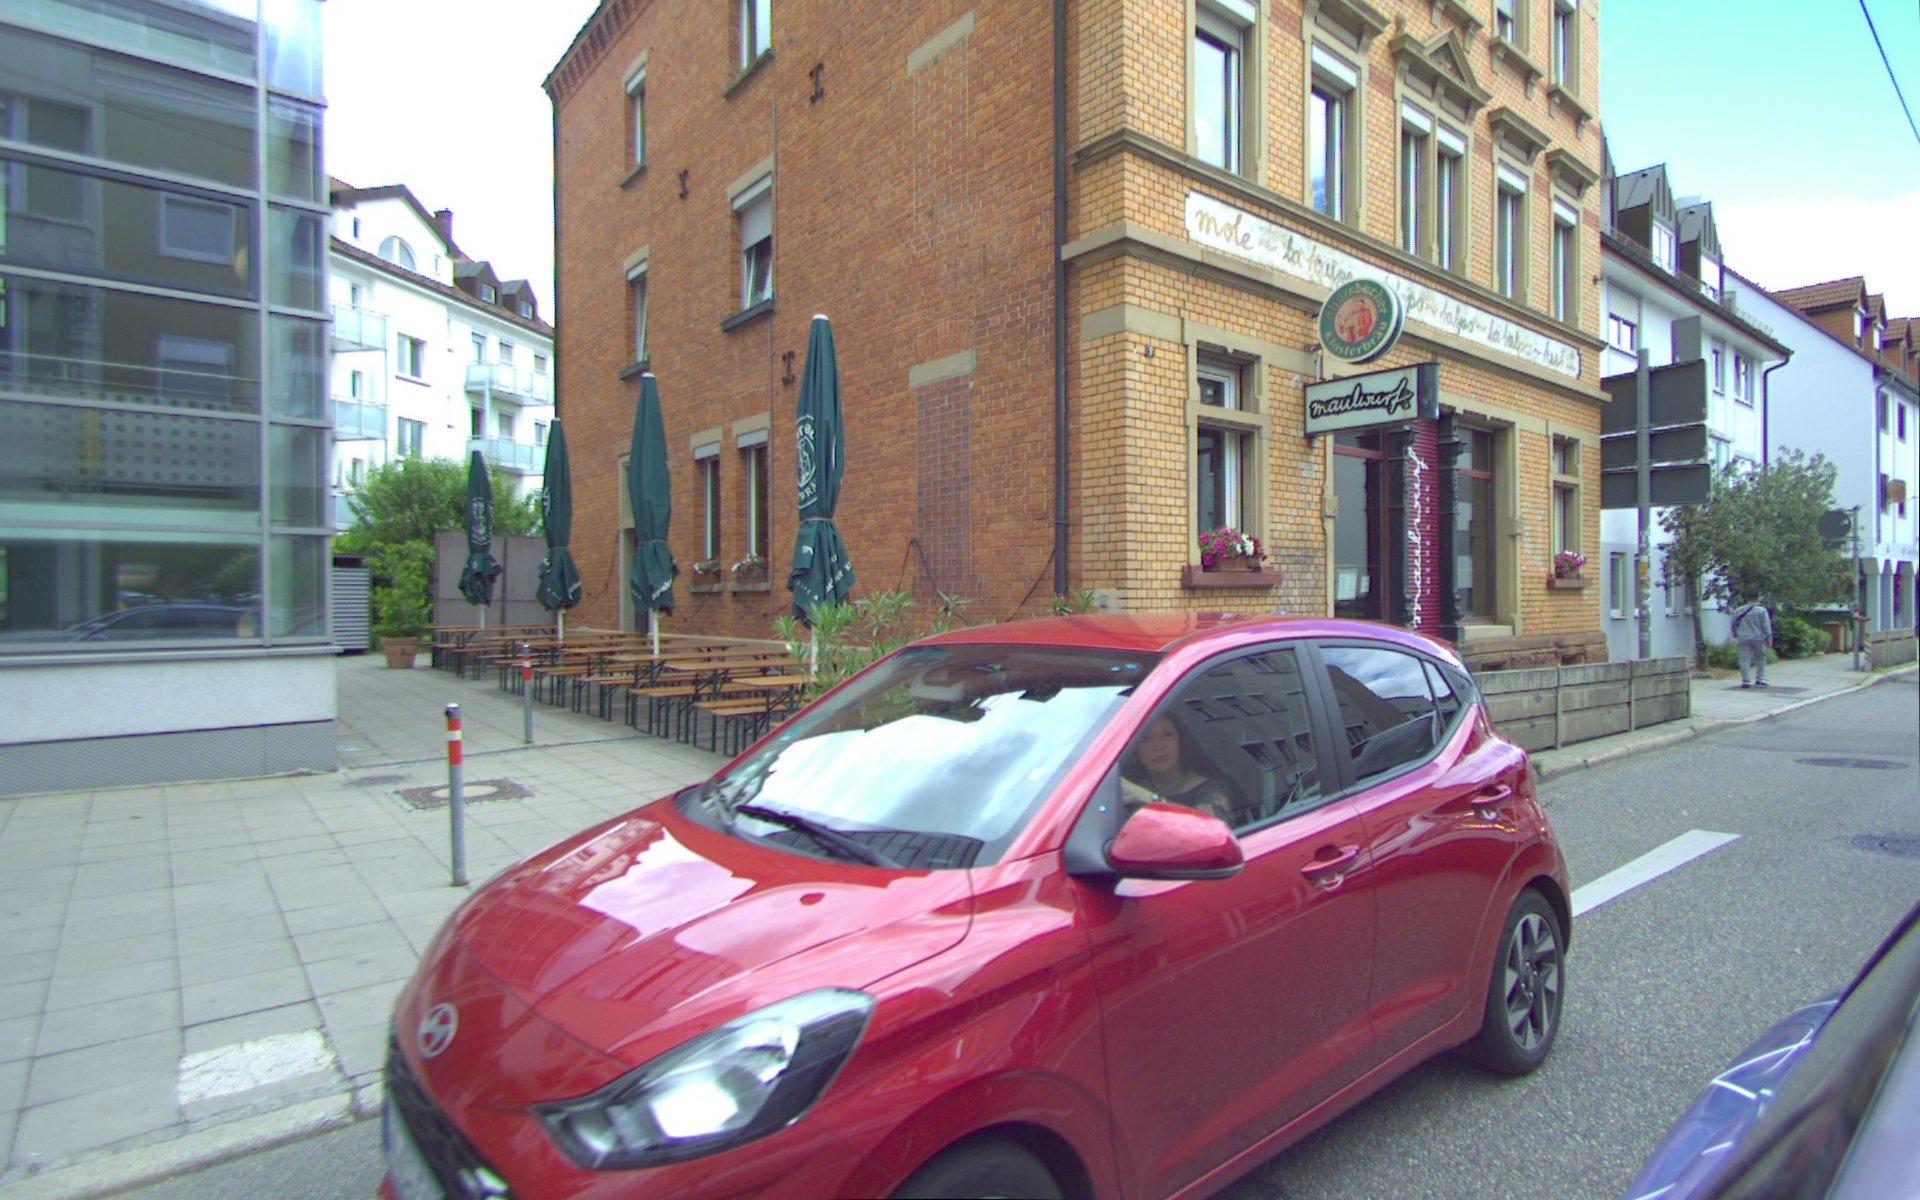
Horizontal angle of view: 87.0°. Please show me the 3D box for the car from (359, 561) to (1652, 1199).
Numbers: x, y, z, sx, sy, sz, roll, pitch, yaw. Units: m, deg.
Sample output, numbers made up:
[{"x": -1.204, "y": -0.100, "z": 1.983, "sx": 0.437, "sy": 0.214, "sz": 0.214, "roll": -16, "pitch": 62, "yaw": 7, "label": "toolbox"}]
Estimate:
[{"x": 0.499, "y": 0.701, "z": 3.197, "sx": 3.928, "sy": 1.471, "sz": 1.701, "roll": 0, "pitch": -2, "yaw": -39, "label": "car"}]

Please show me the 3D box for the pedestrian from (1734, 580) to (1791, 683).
[{"x": 14.047, "y": 0.532, "z": 17.716, "sx": 0.638, "sy": 1.752, "sz": 0.689, "roll": 0, "pitch": 0, "yaw": -41, "label": "pedestrian"}]
